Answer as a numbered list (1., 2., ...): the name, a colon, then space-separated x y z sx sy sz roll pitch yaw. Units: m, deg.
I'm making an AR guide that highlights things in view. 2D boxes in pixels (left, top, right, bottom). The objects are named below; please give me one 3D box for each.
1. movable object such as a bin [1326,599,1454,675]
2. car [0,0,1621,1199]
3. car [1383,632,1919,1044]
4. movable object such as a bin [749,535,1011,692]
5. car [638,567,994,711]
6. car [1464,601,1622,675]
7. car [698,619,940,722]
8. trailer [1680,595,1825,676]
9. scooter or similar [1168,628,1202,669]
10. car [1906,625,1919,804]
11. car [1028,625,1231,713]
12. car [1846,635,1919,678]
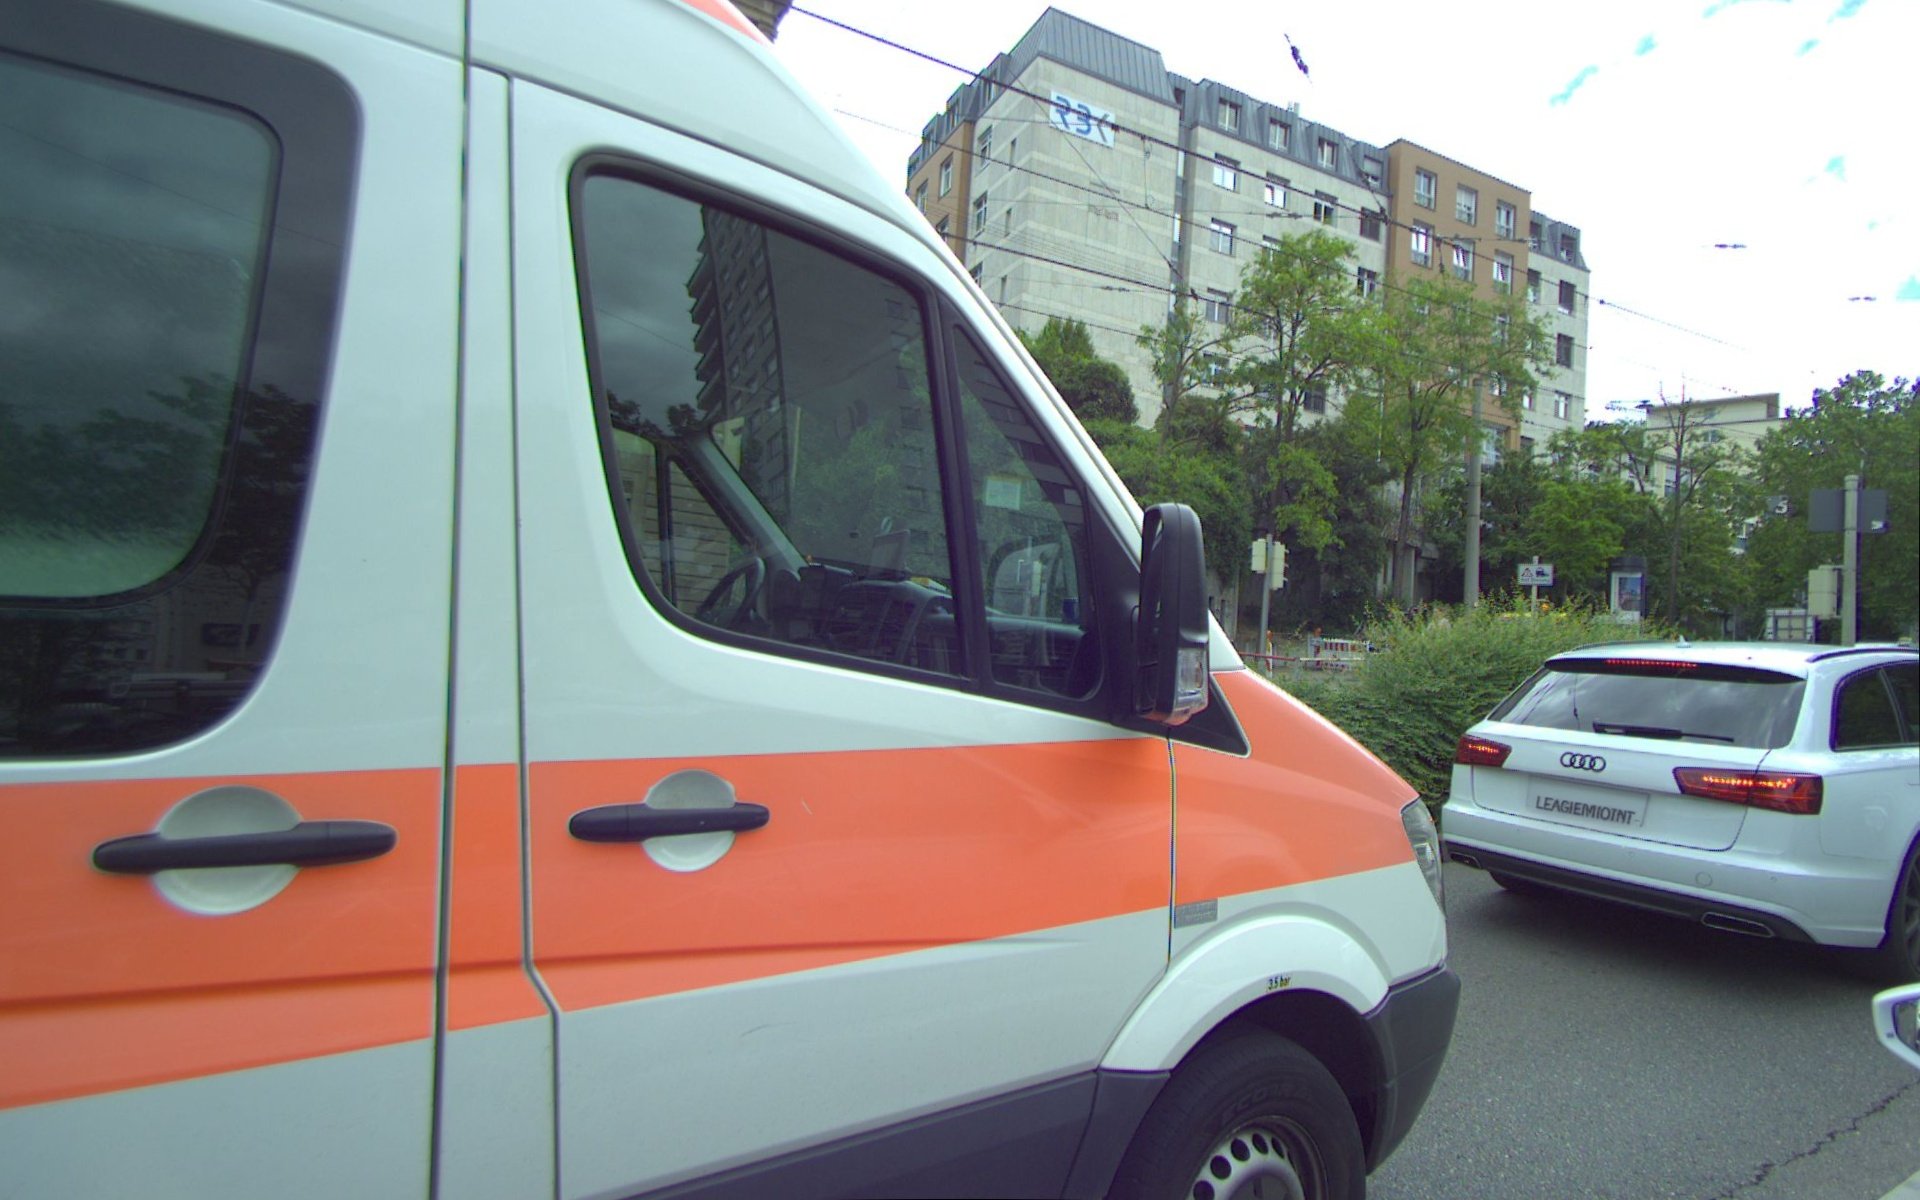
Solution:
1. movable object such as a bin: 14.969 1.257 34.939 4.045 2.500 1.926 1 0 -27
2. car: -1.560 0.441 1.588 5.786 2.735 2.024 2 -1 -30
3. car: 4.646 0.956 5.640 4.564 1.474 1.870 2 -2 -31
4. movable object such as a bin: -1.918 0.429 26.170 6.500 3.595 2.722 2 -2 -42
5. car: -2.718 0.779 20.119 6.687 2.468 2.425 2 -2 -35
6. car: 22.008 1.448 37.862 6.255 2.628 2.149 2 -2 -27
7. car: -2.228 1.068 16.240 3.531 1.473 1.633 2 -1 -36
8. trailer: 30.996 1.400 39.277 5.510 3.013 2.014 2 0 -23
9. scooter or similar: 7.453 1.592 33.216 1.282 1.307 0.423 1 -2 -41
10. car: 10.851 1.070 9.368 4.312 1.592 2.026 2 -2 -33
11. car: 3.417 1.324 19.983 3.960 1.587 1.692 2 -2 -35
12. car: 37.184 2.202 39.446 4.558 1.626 1.987 2 -2 -26
